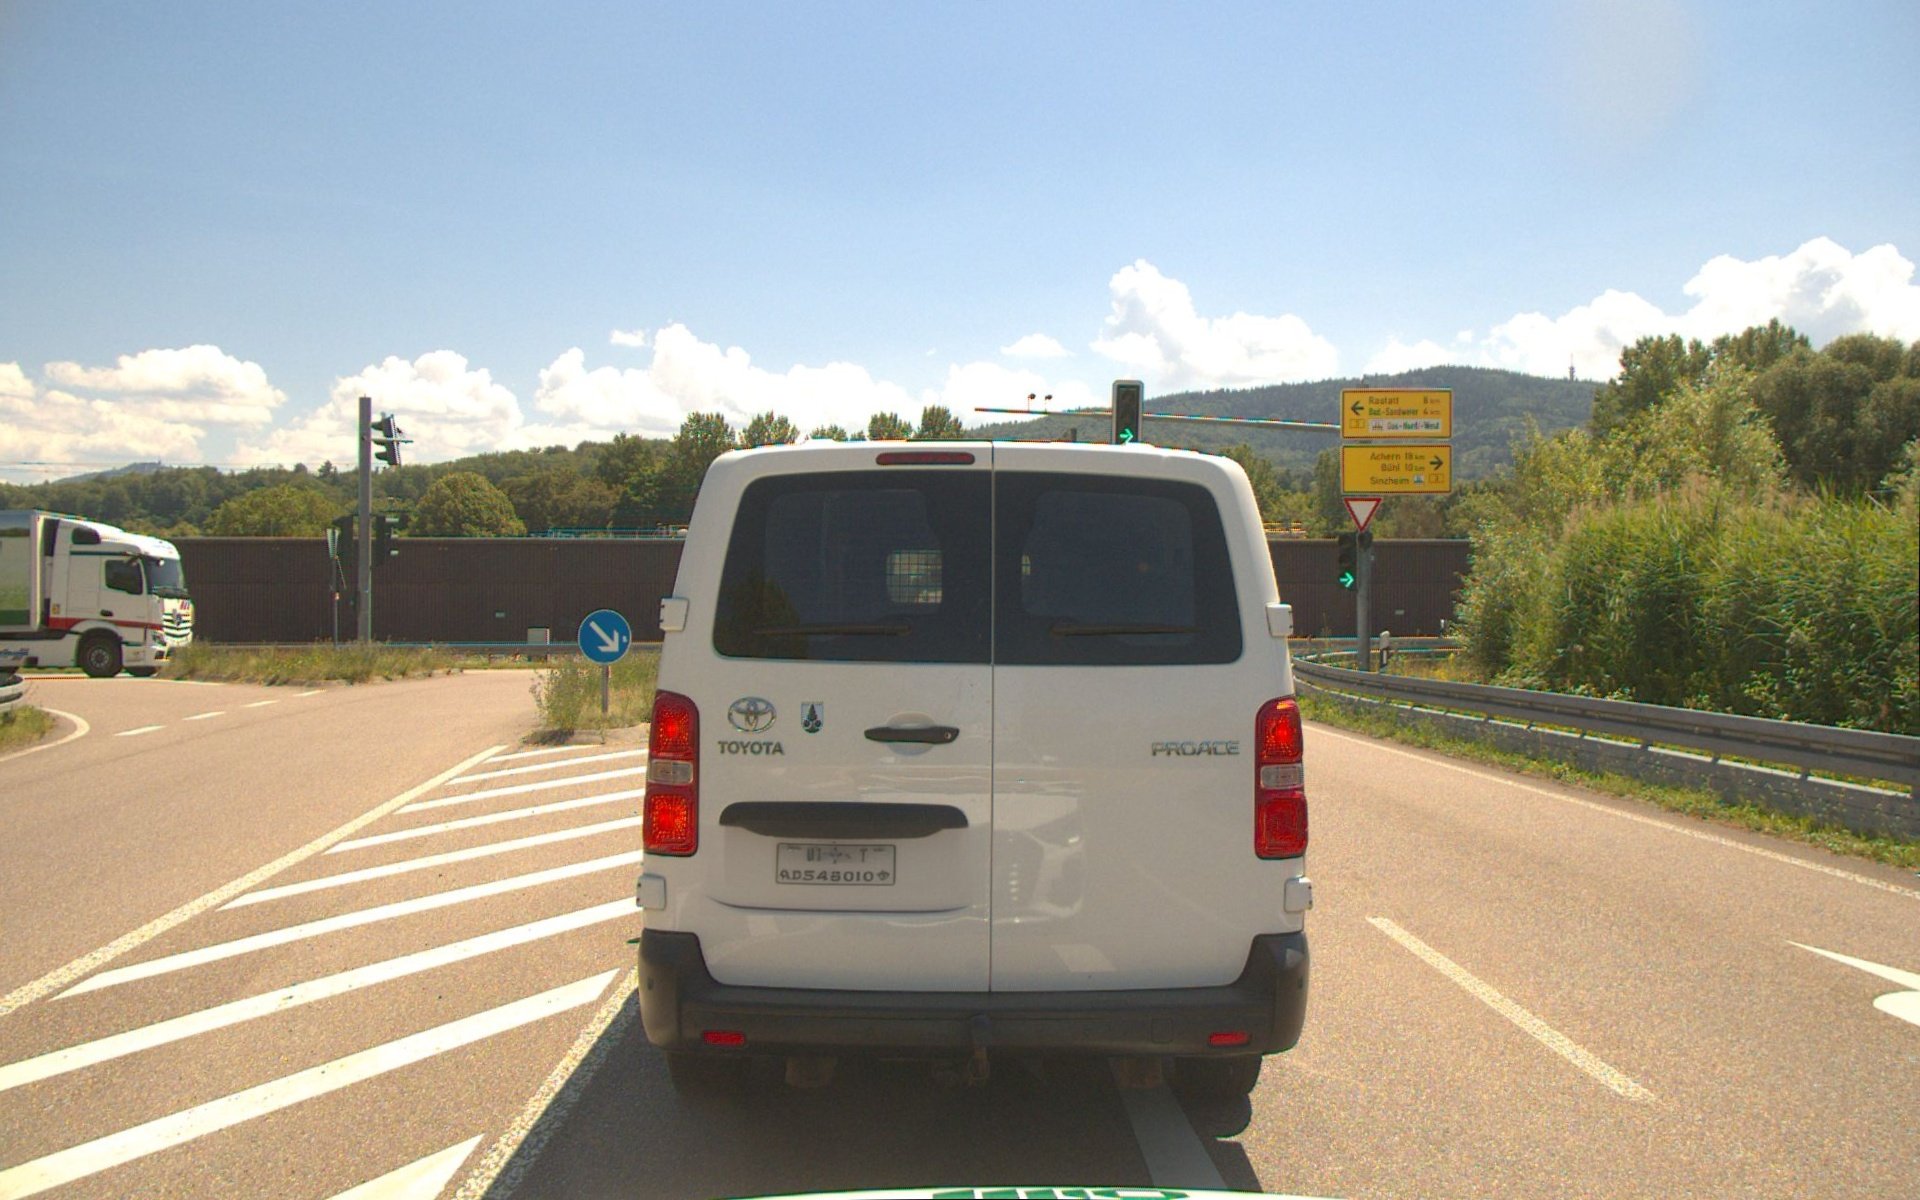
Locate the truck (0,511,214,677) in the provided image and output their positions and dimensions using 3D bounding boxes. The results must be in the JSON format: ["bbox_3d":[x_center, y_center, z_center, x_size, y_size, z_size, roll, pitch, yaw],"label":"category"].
[{"bbox_3d":[-22.383,-0.138,41.773,5.649,4.024,3.061,0,-1,-3],"label":"truck"}]

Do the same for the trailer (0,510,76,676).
[{"bbox_3d":[-29.511,-0.179,41.435,12.877,4.024,3.060,0,-1,-3],"label":"trailer"}]

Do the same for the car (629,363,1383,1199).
[{"bbox_3d":[0.084,0.482,5.912,1.778,2.053,3.999,0,0,-1],"label":"car"}]
